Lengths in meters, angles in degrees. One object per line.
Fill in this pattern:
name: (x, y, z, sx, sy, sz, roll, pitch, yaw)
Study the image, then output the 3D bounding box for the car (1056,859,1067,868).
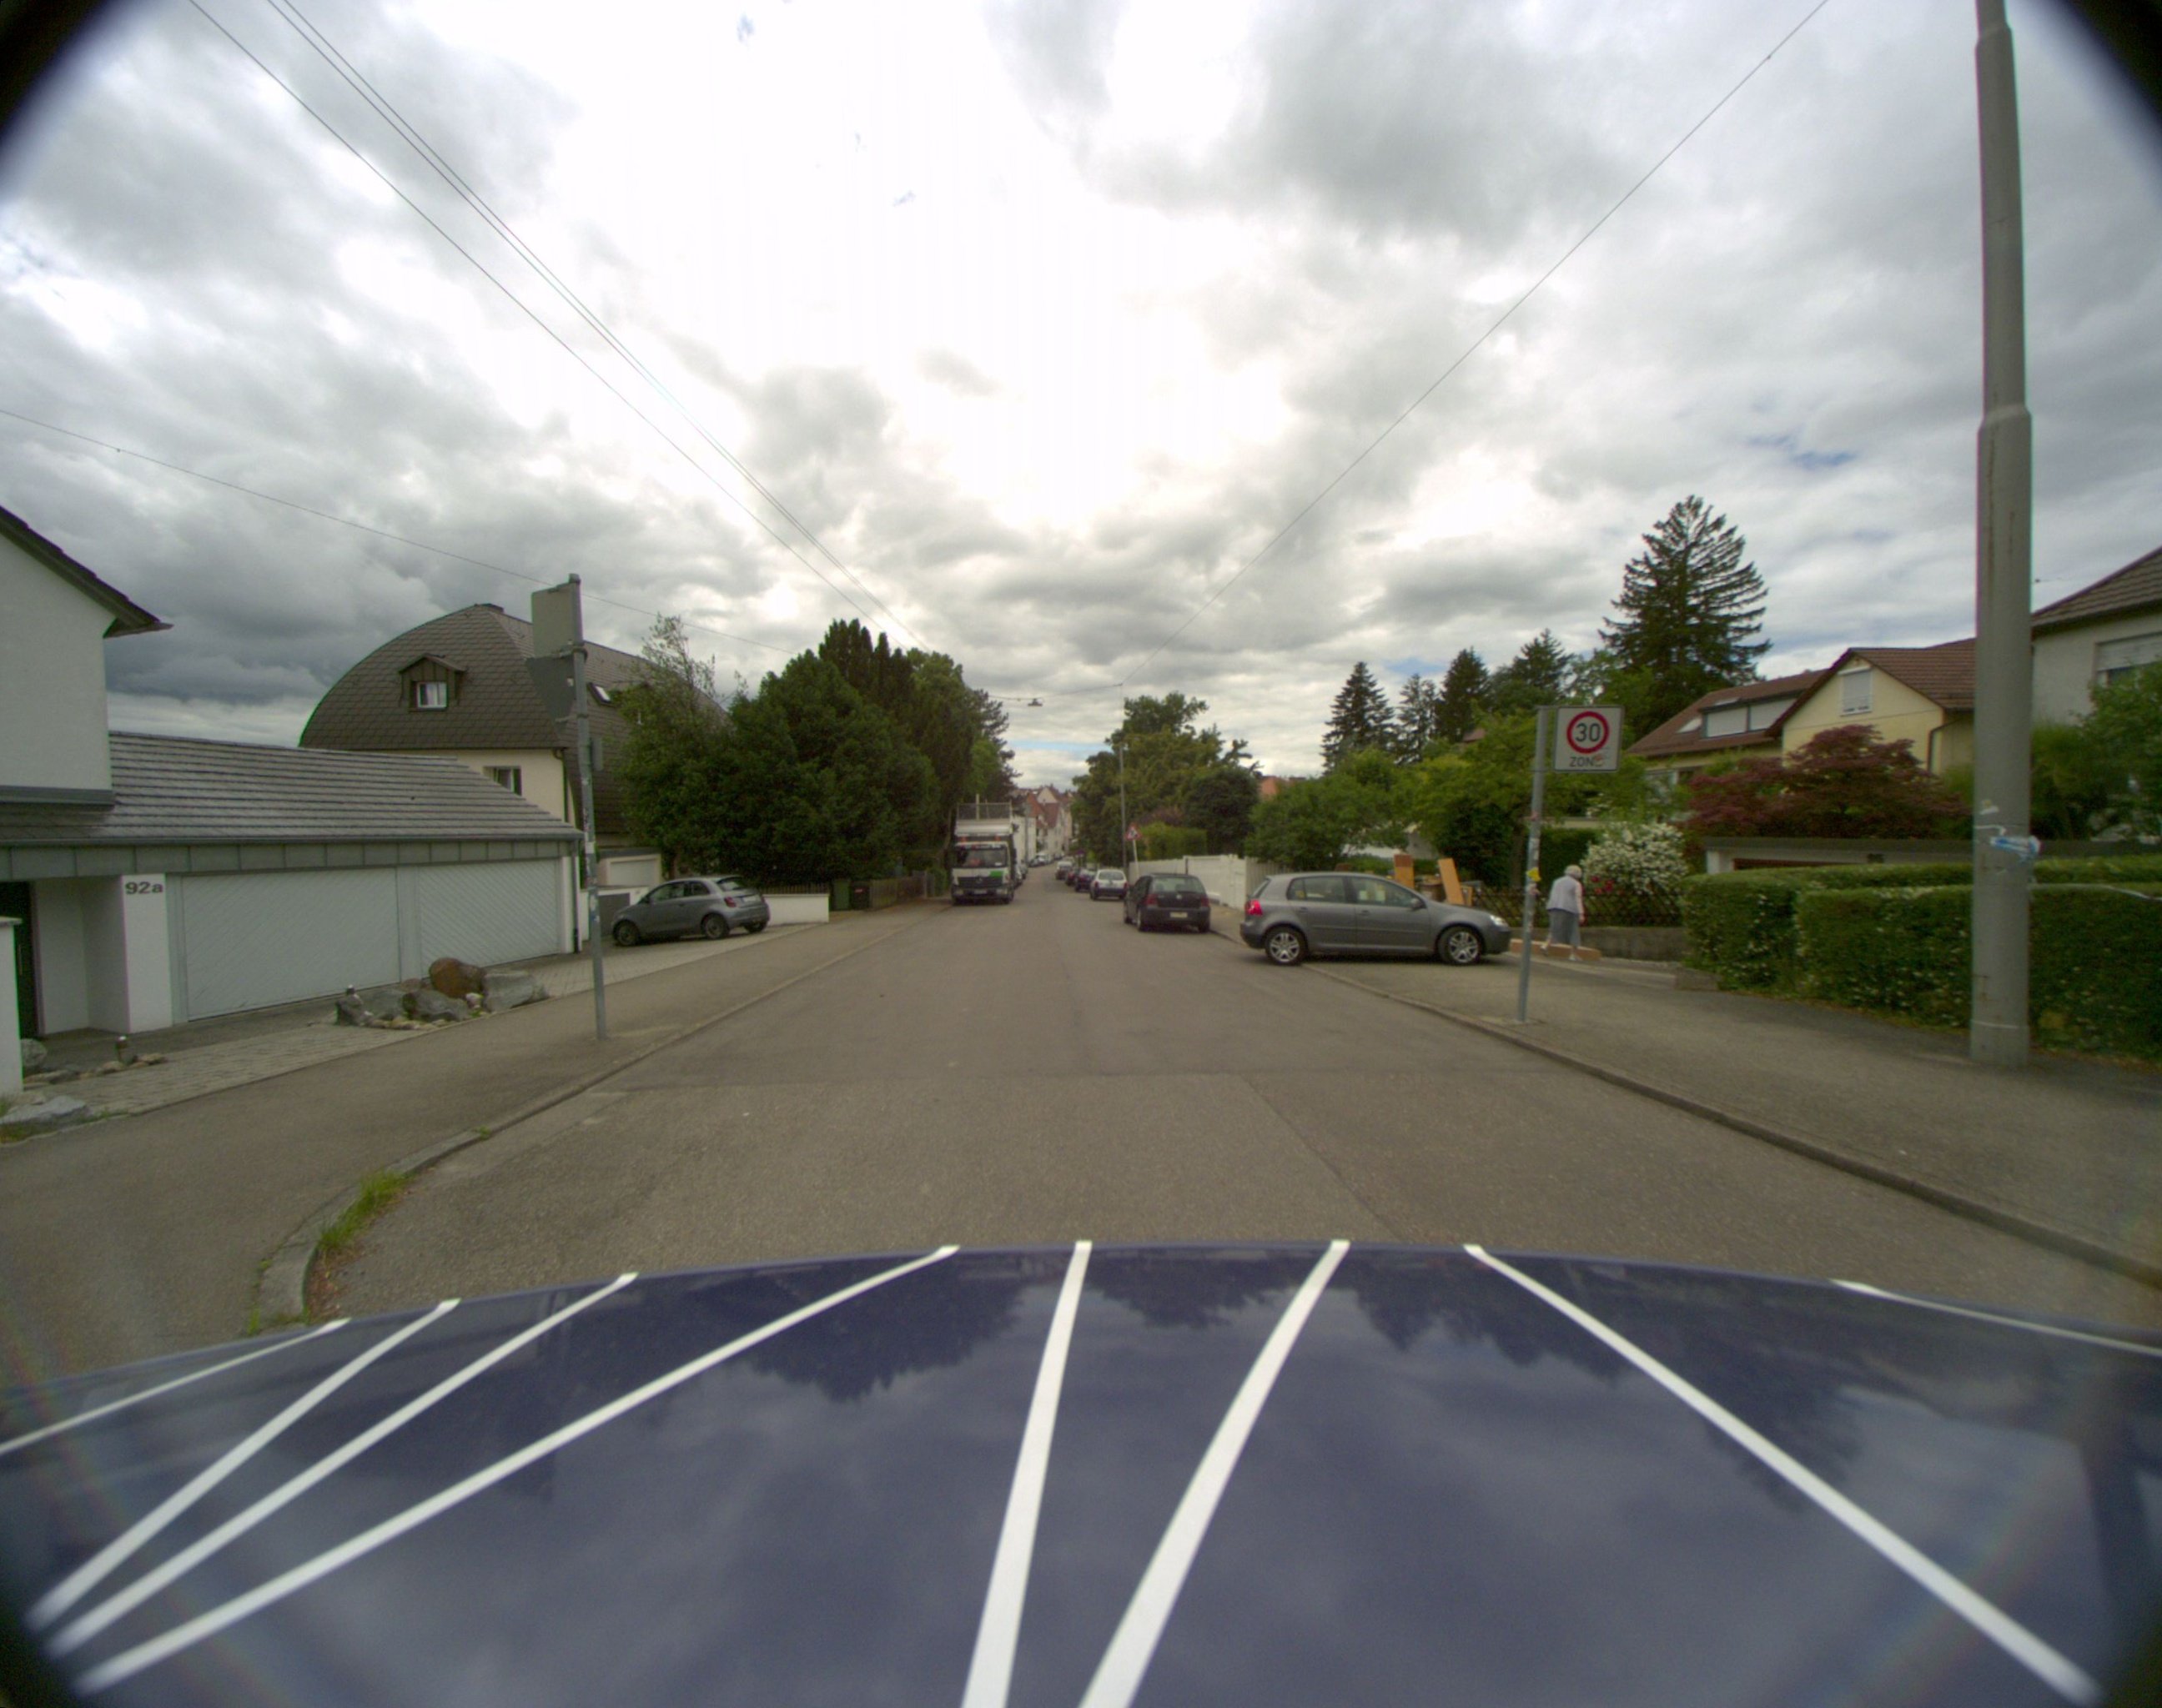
car: (-2.804, 1.332, 108.163, 1.424, 1.277, 3.312, 2, 0, -2)

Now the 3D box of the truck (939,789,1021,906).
truck: (-4.256, -0.248, 33.619, 3.154, 4.524, 7.949, 0, 0, -5)

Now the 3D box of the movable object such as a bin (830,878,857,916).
movable object such as a bin: (-7.819, 1.409, 25.028, 0.599, 1.200, 0.952, -4, -2, -5)

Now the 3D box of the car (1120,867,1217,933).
car: (2.105, 1.099, 19.313, 1.759, 1.435, 3.801, 1, 0, -4)

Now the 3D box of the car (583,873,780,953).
car: (-9.529, 1.397, 18.226, 3.853, 1.488, 1.694, -5, 0, 11)

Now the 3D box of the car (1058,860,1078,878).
car: (-1.412, 1.584, 81.548, 1.888, 1.746, 3.701, -1, 0, -5)

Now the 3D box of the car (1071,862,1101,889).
car: (0.293, 1.277, 45.866, 1.621, 1.460, 3.312, 2, 0, -2)

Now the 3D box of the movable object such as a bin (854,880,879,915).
movable object such as a bin: (-7.122, 1.443, 25.258, 0.599, 1.098, 0.952, -4, -2, -5)

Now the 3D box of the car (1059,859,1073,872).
car: (-1.779, 1.366, 89.095, 1.621, 1.460, 3.312, 2, 0, -2)

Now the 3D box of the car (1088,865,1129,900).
car: (1.246, 1.287, 35.488, 1.621, 1.460, 3.312, 2, 0, -2)

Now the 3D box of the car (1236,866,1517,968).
car: (4.650, 0.987, 12.452, 3.992, 1.454, 1.740, -2, 0, 15)

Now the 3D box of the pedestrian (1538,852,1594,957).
pedestrian: (8.589, 0.876, 13.460, 0.614, 1.794, 0.644, -2, 1, -35)

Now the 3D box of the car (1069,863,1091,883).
car: (-0.098, 1.508, 59.419, 1.539, 1.459, 3.313, 2, -1, -2)
